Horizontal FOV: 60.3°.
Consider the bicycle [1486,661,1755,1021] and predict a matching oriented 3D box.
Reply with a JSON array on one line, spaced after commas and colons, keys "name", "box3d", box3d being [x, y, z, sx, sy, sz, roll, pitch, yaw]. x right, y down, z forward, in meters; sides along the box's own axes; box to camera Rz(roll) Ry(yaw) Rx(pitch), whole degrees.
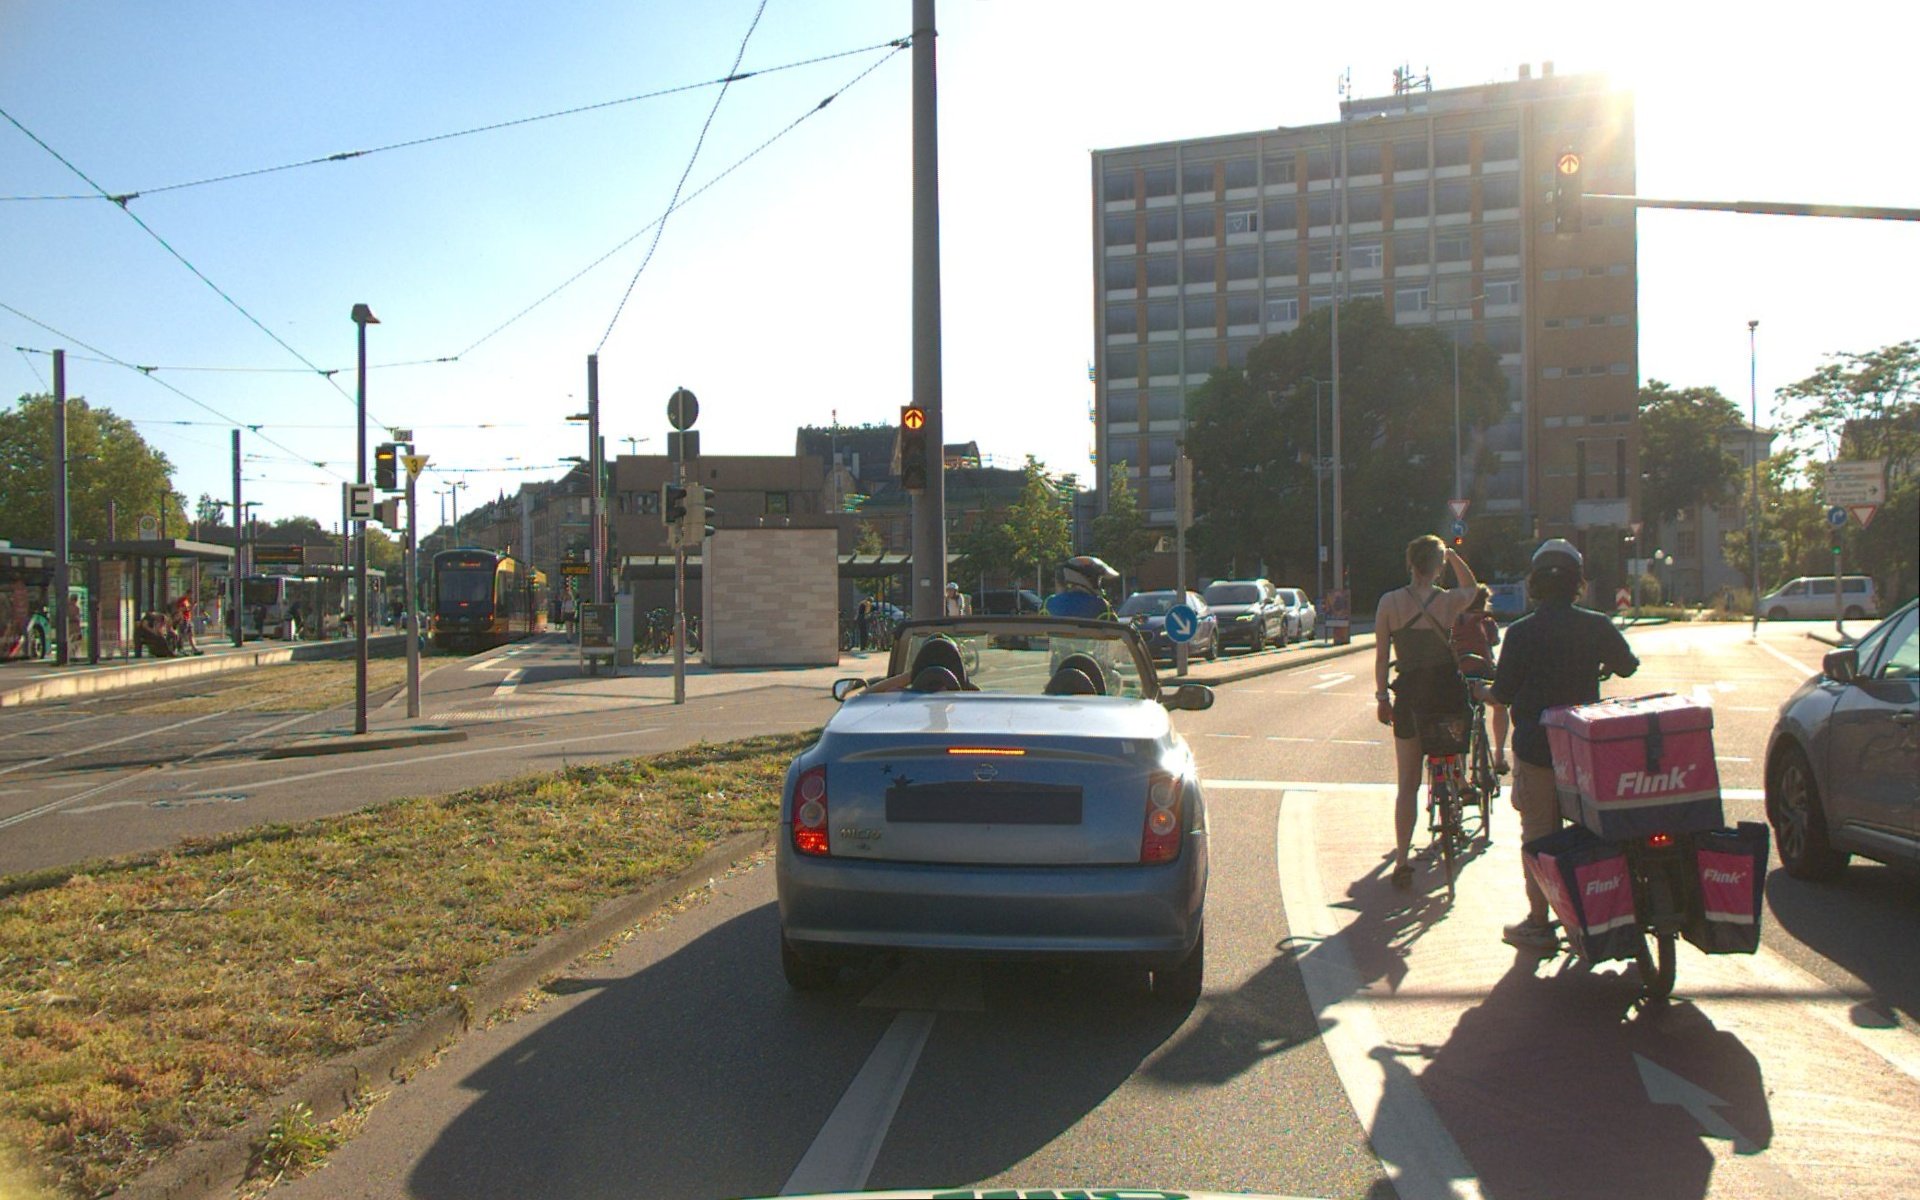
[{"name": "bicycle", "box3d": [2.728, 0.900, 7.075, 0.542, 1.192, 2.374, 1, 0, 9]}]

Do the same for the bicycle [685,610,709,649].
[{"name": "bicycle", "box3d": [-7.979, 0.893, 50.200, 0.596, 1.134, 1.890, 1, 0, -13]}]

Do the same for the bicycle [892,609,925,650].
[{"name": "bicycle", "box3d": [-1.495, 0.830, 47.544, 0.596, 1.134, 1.890, 1, 0, -13]}]

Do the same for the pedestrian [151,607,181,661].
[{"name": "pedestrian", "box3d": [-20.094, 0.857, 41.869, 0.606, 1.364, 0.438, -1, 0, -18]}]

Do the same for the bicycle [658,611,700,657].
[{"name": "bicycle", "box3d": [-7.184, 0.857, 42.339, 0.594, 1.134, 1.898, 1, 0, 5]}]

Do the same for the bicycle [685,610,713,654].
[{"name": "bicycle", "box3d": [-6.989, 0.845, 44.278, 0.596, 1.134, 1.890, 1, 0, -13]}]

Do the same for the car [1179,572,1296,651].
[{"name": "car", "box3d": [6.742, 0.255, 39.825, 1.726, 1.736, 4.529, -2, -1, 23]}]

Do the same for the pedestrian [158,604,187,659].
[{"name": "pedestrian", "box3d": [-20.252, 0.803, 42.550, 0.561, 1.369, 0.637, -1, 0, -17]}]

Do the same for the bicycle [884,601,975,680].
[{"name": "bicycle", "box3d": [-0.504, 0.676, 28.831, 0.660, 1.272, 2.457, -3, -1, 21]}]

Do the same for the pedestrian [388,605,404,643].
[{"name": "pedestrian", "box3d": [-26.739, 1.144, 78.436, 0.630, 1.779, 0.567, -1, 0, -27]}]

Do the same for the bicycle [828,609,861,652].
[{"name": "bicycle", "box3d": [-3.162, 0.824, 45.059, 0.596, 1.134, 1.890, 1, 0, -13]}]

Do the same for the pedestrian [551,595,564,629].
[{"name": "pedestrian", "box3d": [-21.789, 0.649, 89.581, 0.593, 1.779, 0.830, -1, 0, -8]}]

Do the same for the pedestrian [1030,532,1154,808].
[{"name": "pedestrian", "box3d": [0.969, 0.485, 11.968, 0.815, 1.901, 0.921, 1, -1, 8]}]

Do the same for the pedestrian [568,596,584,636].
[{"name": "pedestrian", "box3d": [-17.566, 0.729, 75.583, 0.628, 1.779, 0.732, -1, 0, -19]}]

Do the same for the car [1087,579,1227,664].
[{"name": "car", "box3d": [4.072, 0.425, 33.685, 1.702, 1.601, 3.921, 1, 0, 25]}]

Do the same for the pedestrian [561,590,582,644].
[{"name": "pedestrian", "box3d": [-13.063, 0.573, 55.589, 0.628, 1.779, 0.569, -1, 0, -19]}]

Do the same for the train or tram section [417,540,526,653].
[{"name": "train or tram section", "box3d": [-17.645, -0.105, 60.409, 2.831, 3.659, 12.161, 1, 0, -12]}]

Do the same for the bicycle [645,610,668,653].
[{"name": "bicycle", "box3d": [-8.424, 0.861, 45.850, 0.596, 1.134, 1.891, 1, 0, -11]}]

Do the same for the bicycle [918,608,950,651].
[{"name": "bicycle", "box3d": [-0.730, 0.807, 45.539, 0.595, 1.134, 1.892, 1, 0, -10]}]

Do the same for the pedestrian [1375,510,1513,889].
[{"name": "pedestrian", "box3d": [2.559, 0.499, 8.812, 0.645, 1.901, 0.873, 1, -1, 14]}]

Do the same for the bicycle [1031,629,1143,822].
[{"name": "bicycle", "box3d": [0.952, 0.830, 11.900, 0.595, 1.212, 2.416, 1, 0, 9]}]

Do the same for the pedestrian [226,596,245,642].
[{"name": "pedestrian", "box3d": [-28.369, 0.722, 64.722, 0.630, 1.779, 0.567, -1, 0, -27]}]

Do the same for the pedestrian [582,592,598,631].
[{"name": "pedestrian", "box3d": [-17.022, 0.539, 76.138, 0.628, 1.779, 0.732, -1, 0, -19]}]

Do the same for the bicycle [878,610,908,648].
[{"name": "bicycle", "box3d": [-2.088, 0.886, 51.223, 0.596, 1.134, 1.890, 1, 0, -13]}]

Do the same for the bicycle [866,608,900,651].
[{"name": "bicycle", "box3d": [-2.110, 0.783, 45.216, 0.596, 1.134, 1.890, 1, 0, -13]}]

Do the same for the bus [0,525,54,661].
[{"name": "bus", "box3d": [-23.561, -0.178, 37.172, 2.606, 3.190, 9.619, 1, 0, -10]}]

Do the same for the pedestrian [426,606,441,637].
[{"name": "pedestrian", "box3d": [-31.498, 1.283, 99.015, 0.720, 1.779, 0.638, -1, 0, -8]}]

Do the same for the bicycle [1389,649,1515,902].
[{"name": "bicycle", "box3d": [2.638, 0.876, 9.000, 0.552, 1.171, 1.951, 1, 0, 14]}]

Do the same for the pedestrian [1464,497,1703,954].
[{"name": "pedestrian", "box3d": [2.762, 0.522, 7.428, 0.789, 1.901, 0.957, 1, -1, 8]}]

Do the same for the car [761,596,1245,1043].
[{"name": "car", "box3d": [0.354, 0.746, 7.683, 1.625, 1.466, 4.157, 1, 0, 6]}]

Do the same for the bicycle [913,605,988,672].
[{"name": "bicycle", "box3d": [-0.155, 0.711, 31.449, 0.660, 1.201, 2.183, -1, 0, 21]}]

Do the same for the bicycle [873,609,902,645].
[{"name": "bicycle", "box3d": [-2.337, 0.867, 53.191, 0.596, 1.134, 1.890, 1, 0, -13]}]

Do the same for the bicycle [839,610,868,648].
[{"name": "bicycle", "box3d": [-3.292, 0.882, 51.001, 0.596, 1.134, 1.890, 1, 0, -13]}]

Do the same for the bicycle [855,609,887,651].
[{"name": "bicycle", "box3d": [-2.558, 0.843, 47.140, 0.596, 1.134, 1.890, 1, 0, -13]}]

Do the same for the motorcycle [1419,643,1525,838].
[{"name": "motorcycle", "box3d": [3.419, 0.873, 11.114, 0.600, 1.117, 2.361, 1, 0, 16]}]

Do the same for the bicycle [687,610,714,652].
[{"name": "bicycle", "box3d": [-7.279, 0.862, 46.336, 0.596, 1.134, 1.890, 1, 0, -13]}]

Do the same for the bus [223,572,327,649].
[{"name": "bus", "box3d": [-32.734, 0.468, 79.556, 2.675, 3.331, 13.413, 1, 0, -14]}]

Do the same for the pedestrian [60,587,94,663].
[{"name": "pedestrian", "box3d": [-21.057, 0.590, 39.450, 0.527, 1.779, 0.559, -1, 0, -6]}]

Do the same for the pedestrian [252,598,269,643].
[{"name": "pedestrian", "box3d": [-27.937, 0.830, 66.091, 0.562, 1.779, 0.636, -1, 0, -20]}]

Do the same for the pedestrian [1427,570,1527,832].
[{"name": "pedestrian", "box3d": [3.381, 0.630, 10.852, 0.575, 1.626, 1.025, 1, -1, 16]}]

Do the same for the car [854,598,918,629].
[{"name": "car", "box3d": [-3.983, 0.741, 88.613, 1.629, 1.588, 3.549, -1, 0, -39]}]

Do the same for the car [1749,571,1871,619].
[{"name": "car", "box3d": [37.303, -0.211, 72.707, 4.596, 1.979, 1.914, -1, 0, 24]}]

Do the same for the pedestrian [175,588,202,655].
[{"name": "pedestrian", "box3d": [-20.706, 0.582, 44.408, 0.561, 1.779, 0.637, -1, 0, -17]}]

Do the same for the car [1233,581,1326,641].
[{"name": "car", "box3d": [9.012, 0.281, 46.459, 1.661, 1.588, 3.977, -1, 0, 25]}]

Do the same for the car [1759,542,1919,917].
[{"name": "car", "box3d": [5.285, 0.606, 7.401, 1.792, 1.719, 4.372, 1, 0, 8]}]

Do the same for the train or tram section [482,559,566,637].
[{"name": "train or tram section", "box3d": [-22.045, -0.068, 84.259, 2.984, 3.659, 12.024, 1, 0, -10]}]

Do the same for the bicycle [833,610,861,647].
[{"name": "bicycle", "box3d": [-3.623, 0.898, 52.963, 0.596, 1.134, 1.890, 1, 0, -13]}]

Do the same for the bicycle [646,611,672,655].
[{"name": "bicycle", "box3d": [-7.992, 0.860, 43.931, 0.596, 1.134, 1.890, 1, 0, -13]}]

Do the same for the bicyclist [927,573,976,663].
[{"name": "bicyclist", "box3d": [-0.155, 0.348, 31.476, 0.694, 1.686, 0.743, -1, 0, 21]}]

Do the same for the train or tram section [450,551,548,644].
[{"name": "train or tram section", "box3d": [-19.979, -0.083, 72.364, 2.957, 3.659, 12.169, 1, 0, -10]}]

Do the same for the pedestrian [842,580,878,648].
[{"name": "pedestrian", "box3d": [-2.827, 0.403, 46.725, 0.885, 1.901, 0.685, 1, -1, -13]}]

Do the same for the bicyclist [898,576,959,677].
[{"name": "bicyclist", "box3d": [-0.543, 0.456, 28.762, 0.694, 1.686, 0.901, -3, -1, 21]}]
